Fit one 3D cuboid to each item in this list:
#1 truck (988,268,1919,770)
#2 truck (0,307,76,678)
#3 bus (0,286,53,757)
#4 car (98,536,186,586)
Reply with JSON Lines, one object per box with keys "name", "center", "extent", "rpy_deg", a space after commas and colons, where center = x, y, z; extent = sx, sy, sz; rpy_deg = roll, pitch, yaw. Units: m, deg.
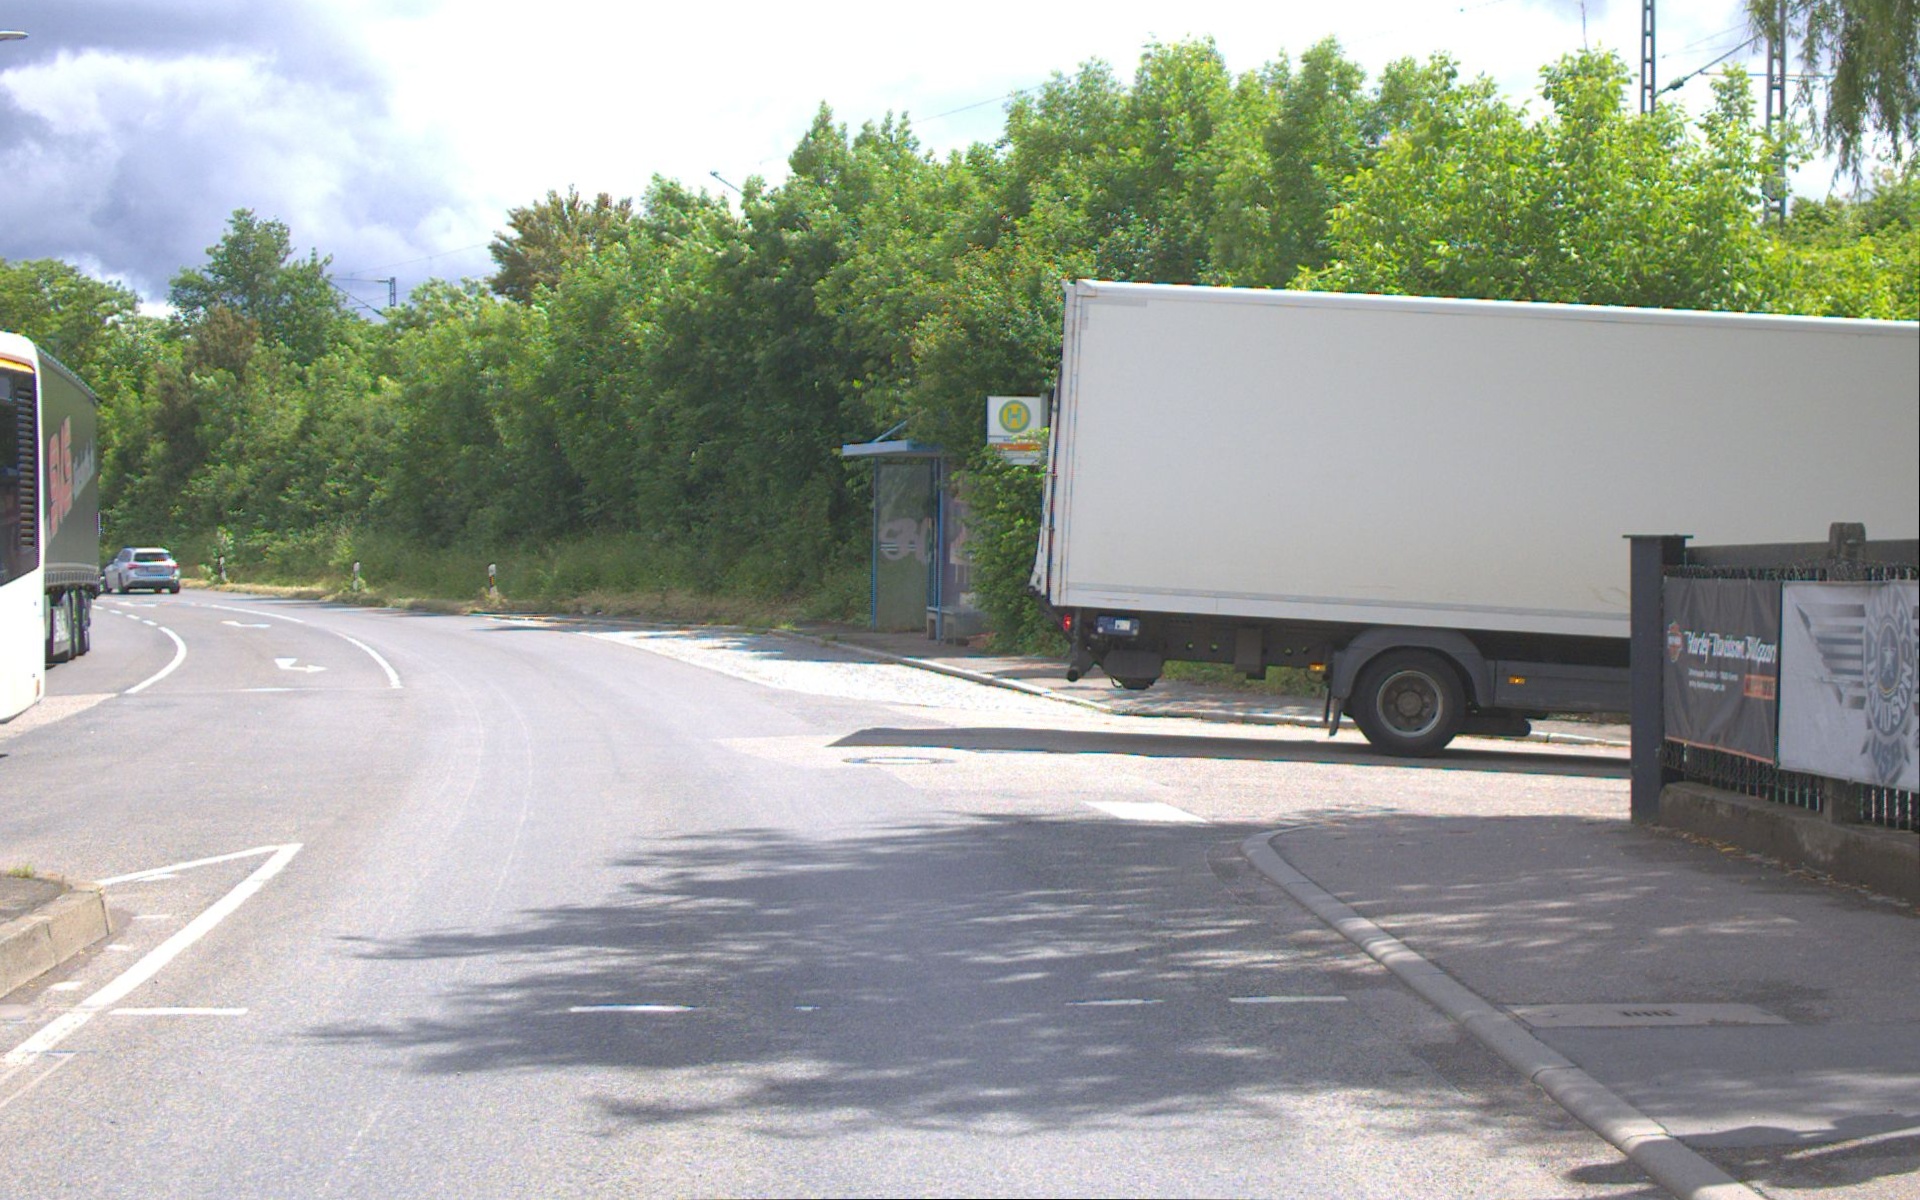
{"name": "truck", "center": [5.252, -0.609, 27.530], "extent": [9.694, 3.528, 2.848], "rpy_deg": [3, 1, 6]}
{"name": "truck", "center": [-12.190, -1.245, 40.190], "extent": [2.428, 4.117, 9.152], "rpy_deg": [2, 0, -8]}
{"name": "bus", "center": [-7.959, -0.475, 19.082], "extent": [2.777, 3.255, 12.124], "rpy_deg": [-1, 1, -1]}
{"name": "car", "center": [-25.619, -1.232, 107.645], "extent": [1.884, 1.503, 4.001], "rpy_deg": [1, 1, -25]}
